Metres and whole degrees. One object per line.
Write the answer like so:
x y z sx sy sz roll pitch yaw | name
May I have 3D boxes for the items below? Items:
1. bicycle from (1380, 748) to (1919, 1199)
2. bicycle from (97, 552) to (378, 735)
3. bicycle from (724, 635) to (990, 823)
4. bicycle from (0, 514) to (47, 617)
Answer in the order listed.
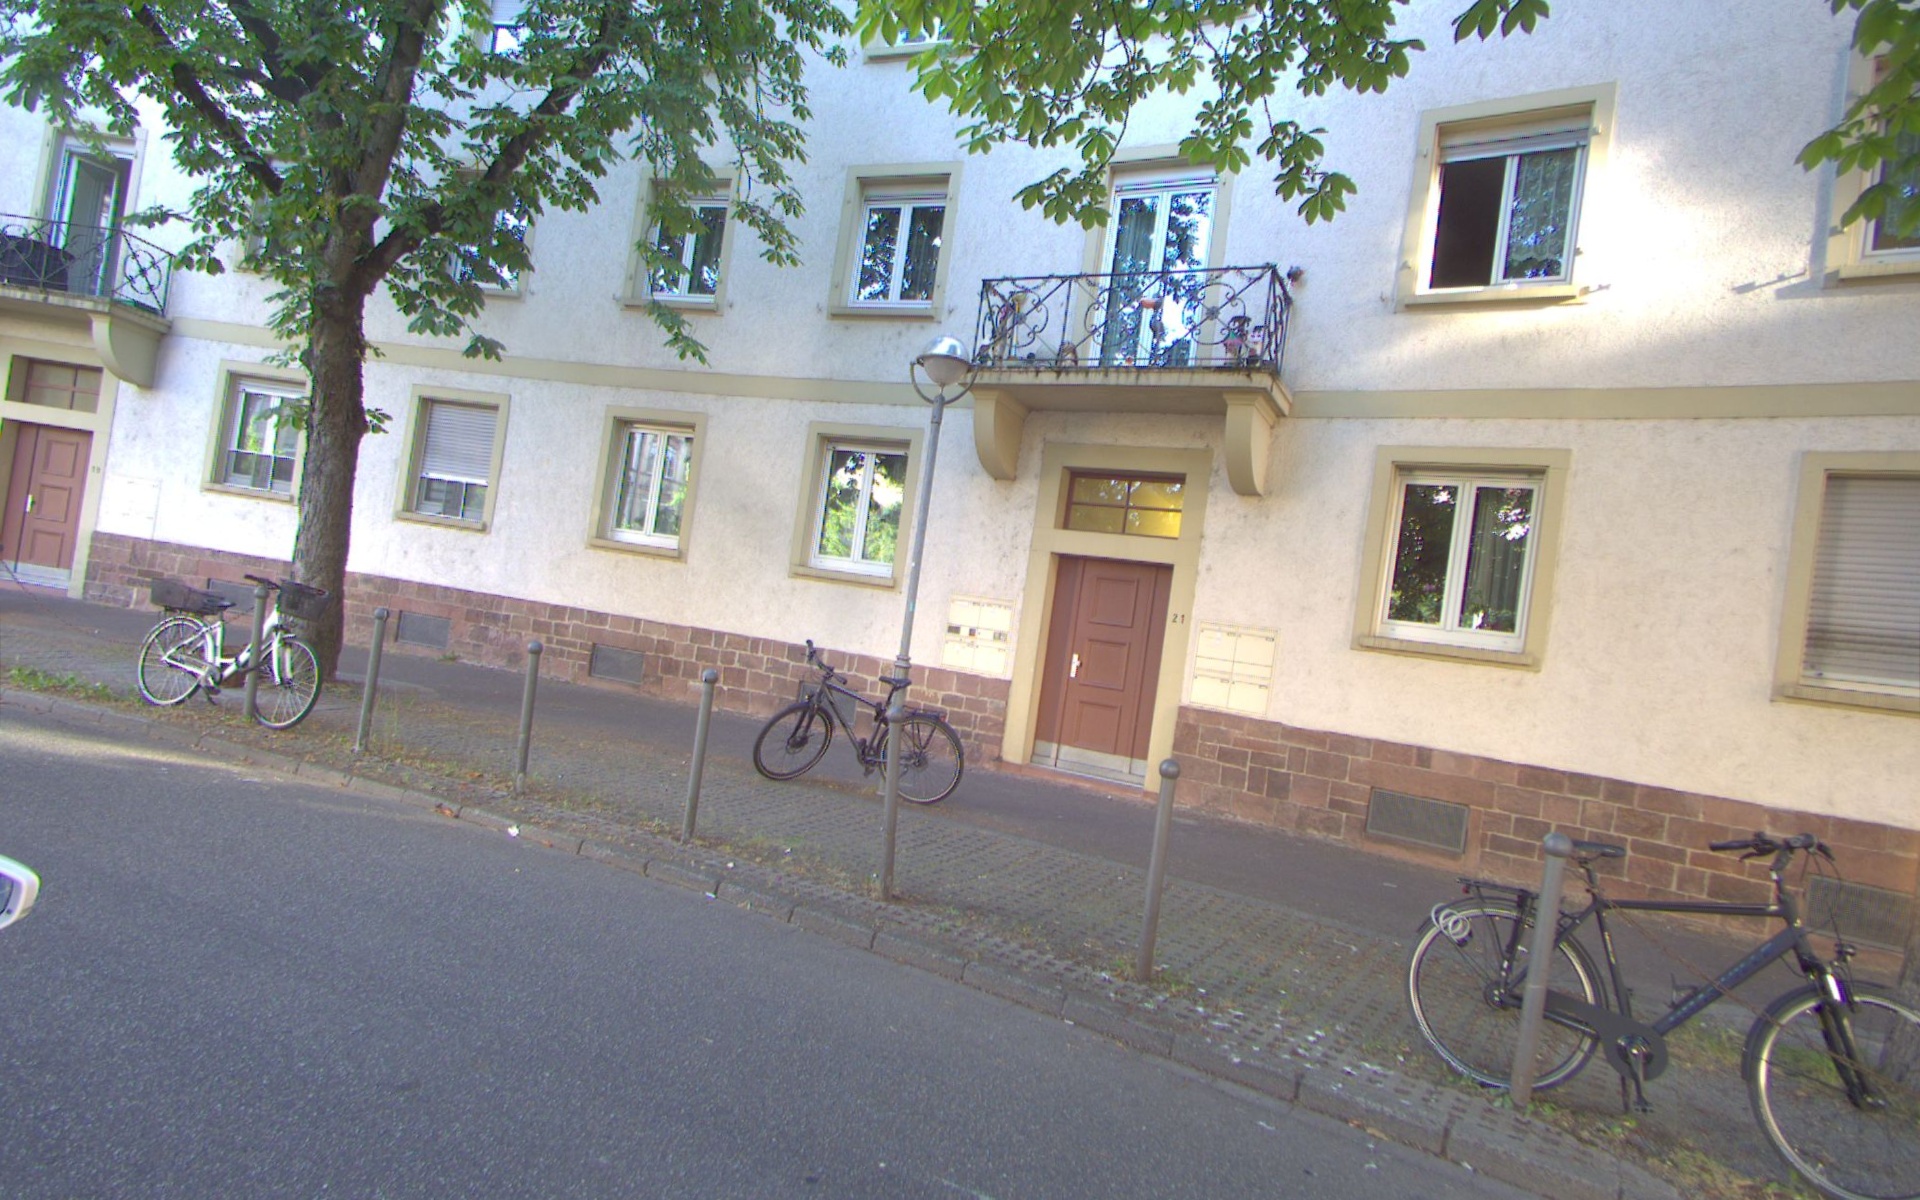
2.642 1.328 3.632 1.881 1.237 0.719 7 -1 29 | bicycle
-5.628 0.323 7.842 1.936 1.109 0.514 8 0 12 | bicycle
-0.780 0.985 7.991 1.823 1.131 0.804 8 -1 8 | bicycle
-11.690 -0.518 11.563 1.929 1.120 0.670 8 -2 13 | bicycle
